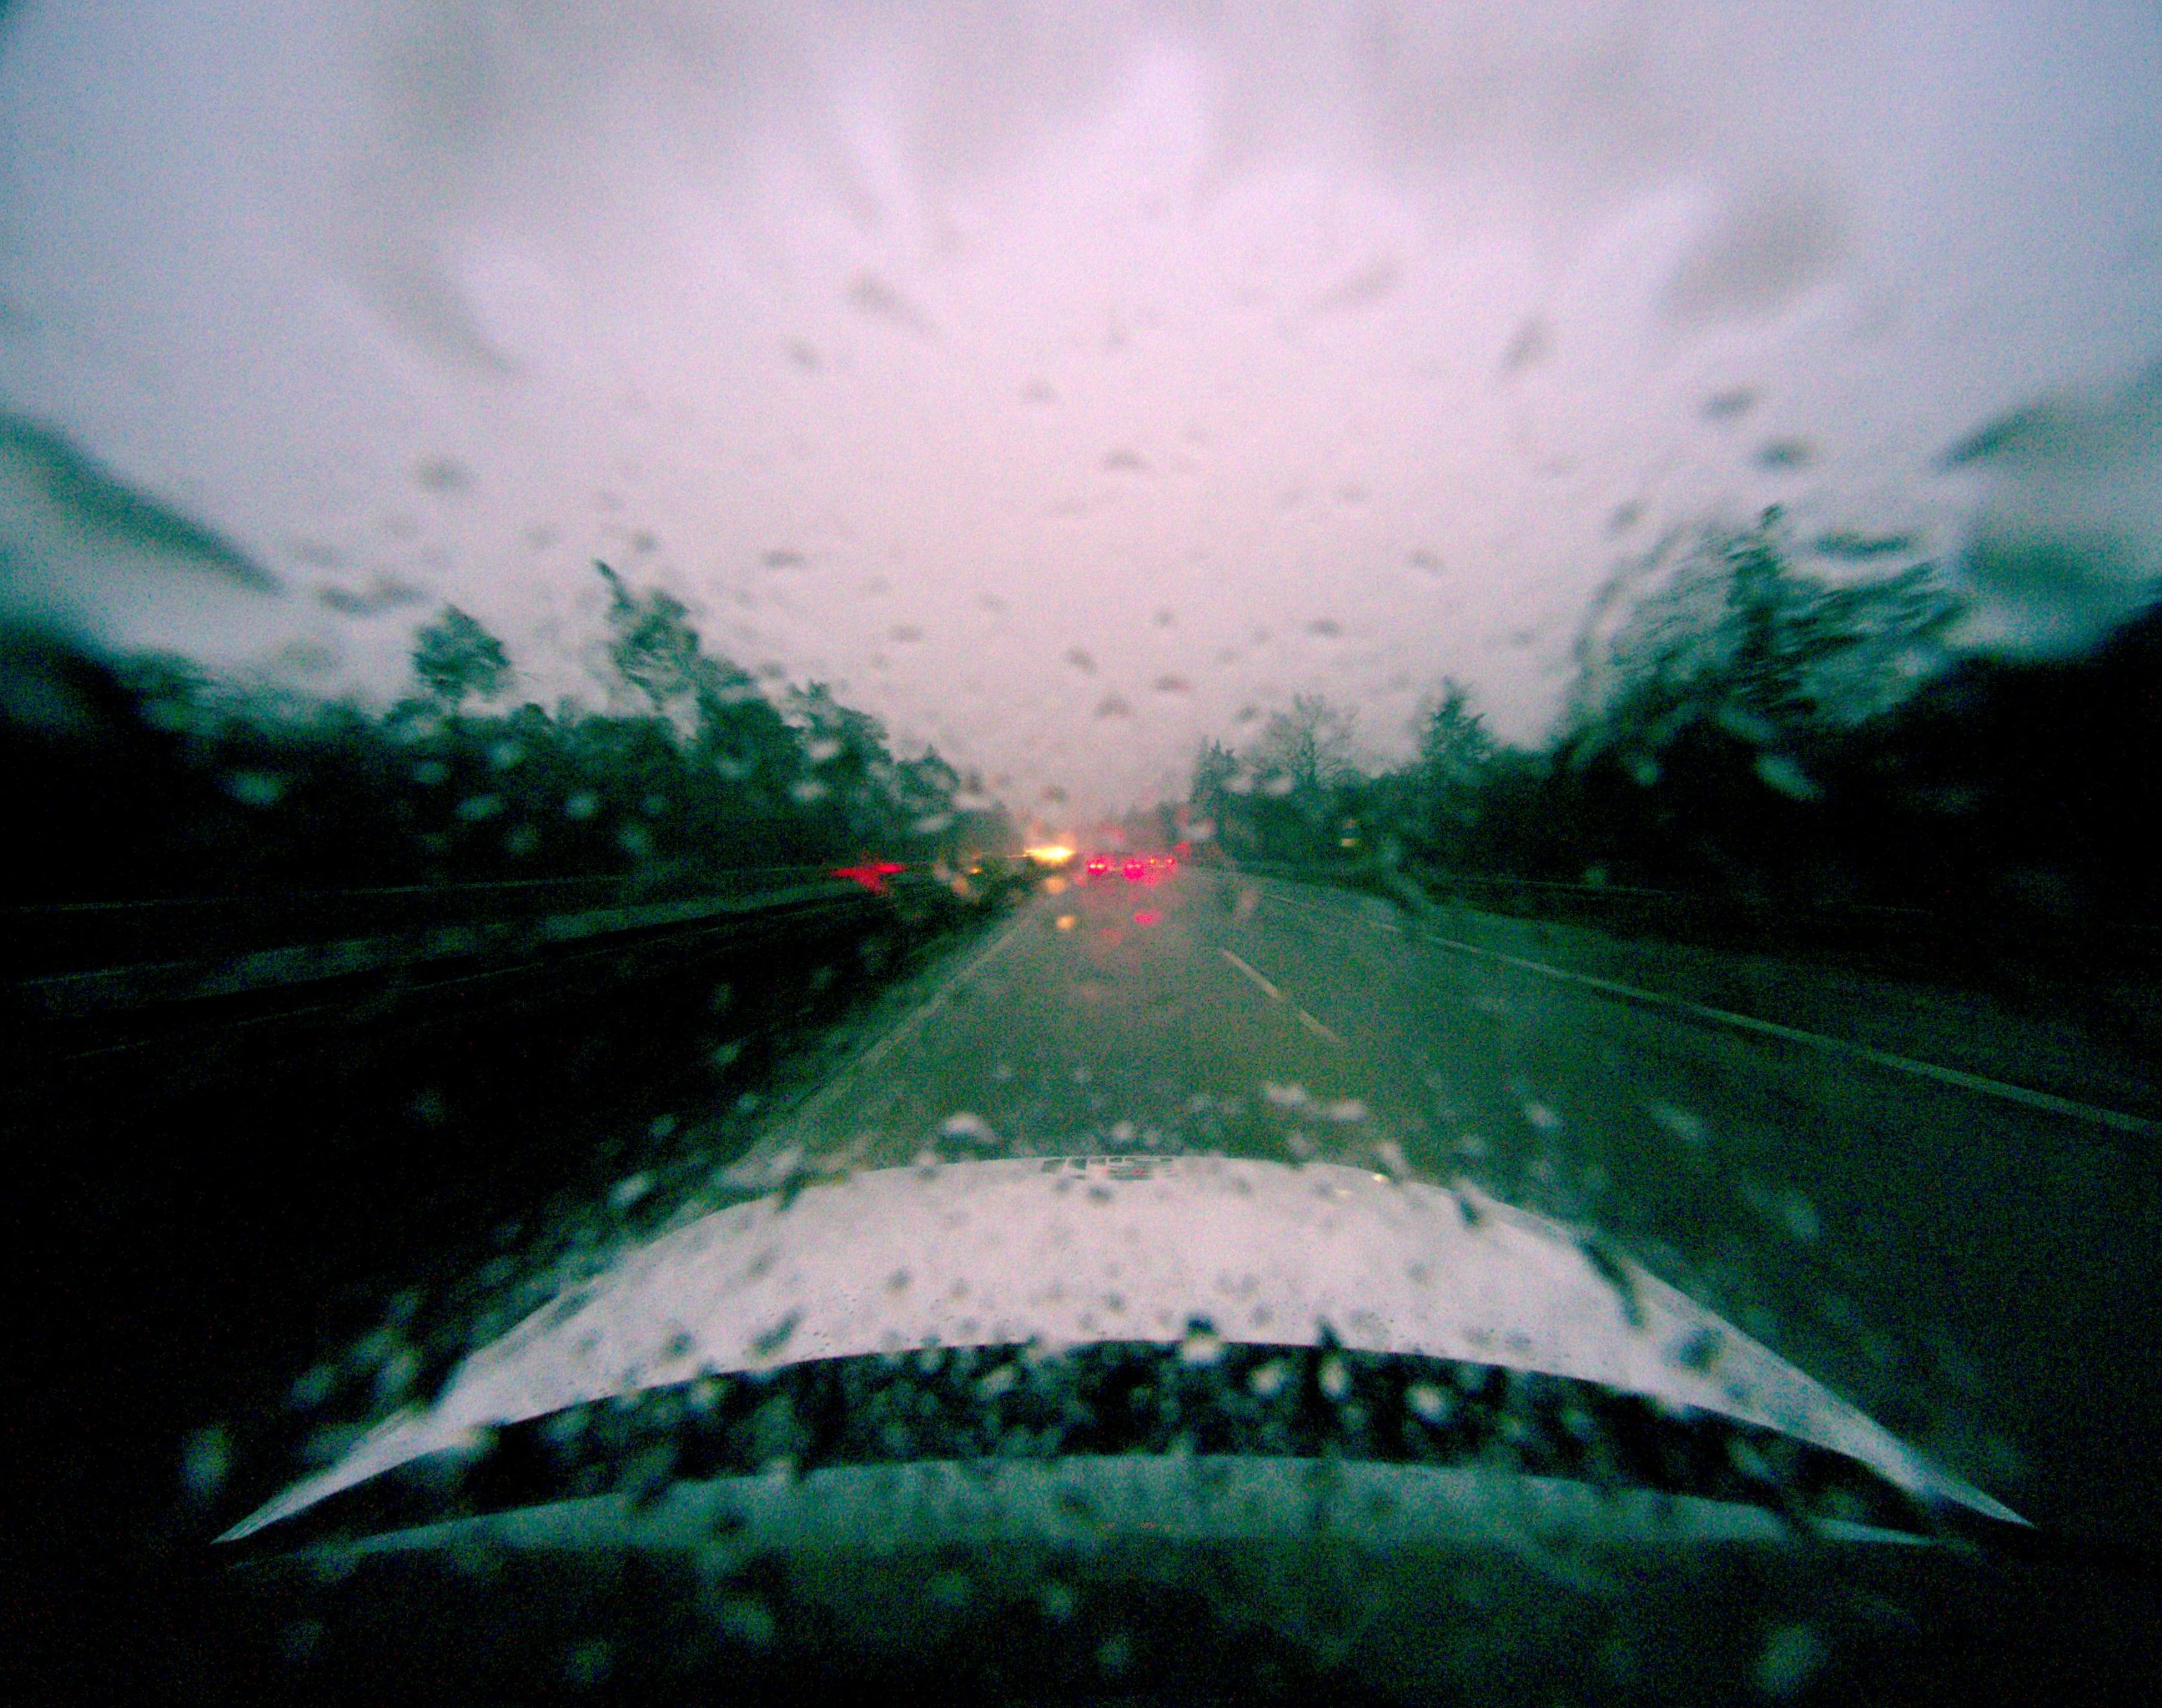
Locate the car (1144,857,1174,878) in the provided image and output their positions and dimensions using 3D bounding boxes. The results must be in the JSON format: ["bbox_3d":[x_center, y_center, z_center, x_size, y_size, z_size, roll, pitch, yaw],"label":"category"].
[{"bbox_3d":[5.532,0.927,57.856,1.774,1.437,3.536,0,0,0],"label":"car"}]

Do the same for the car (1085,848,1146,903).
[{"bbox_3d":[1.169,0.701,28.533,1.979,1.767,4.174,-1,0,1],"label":"car"}]
